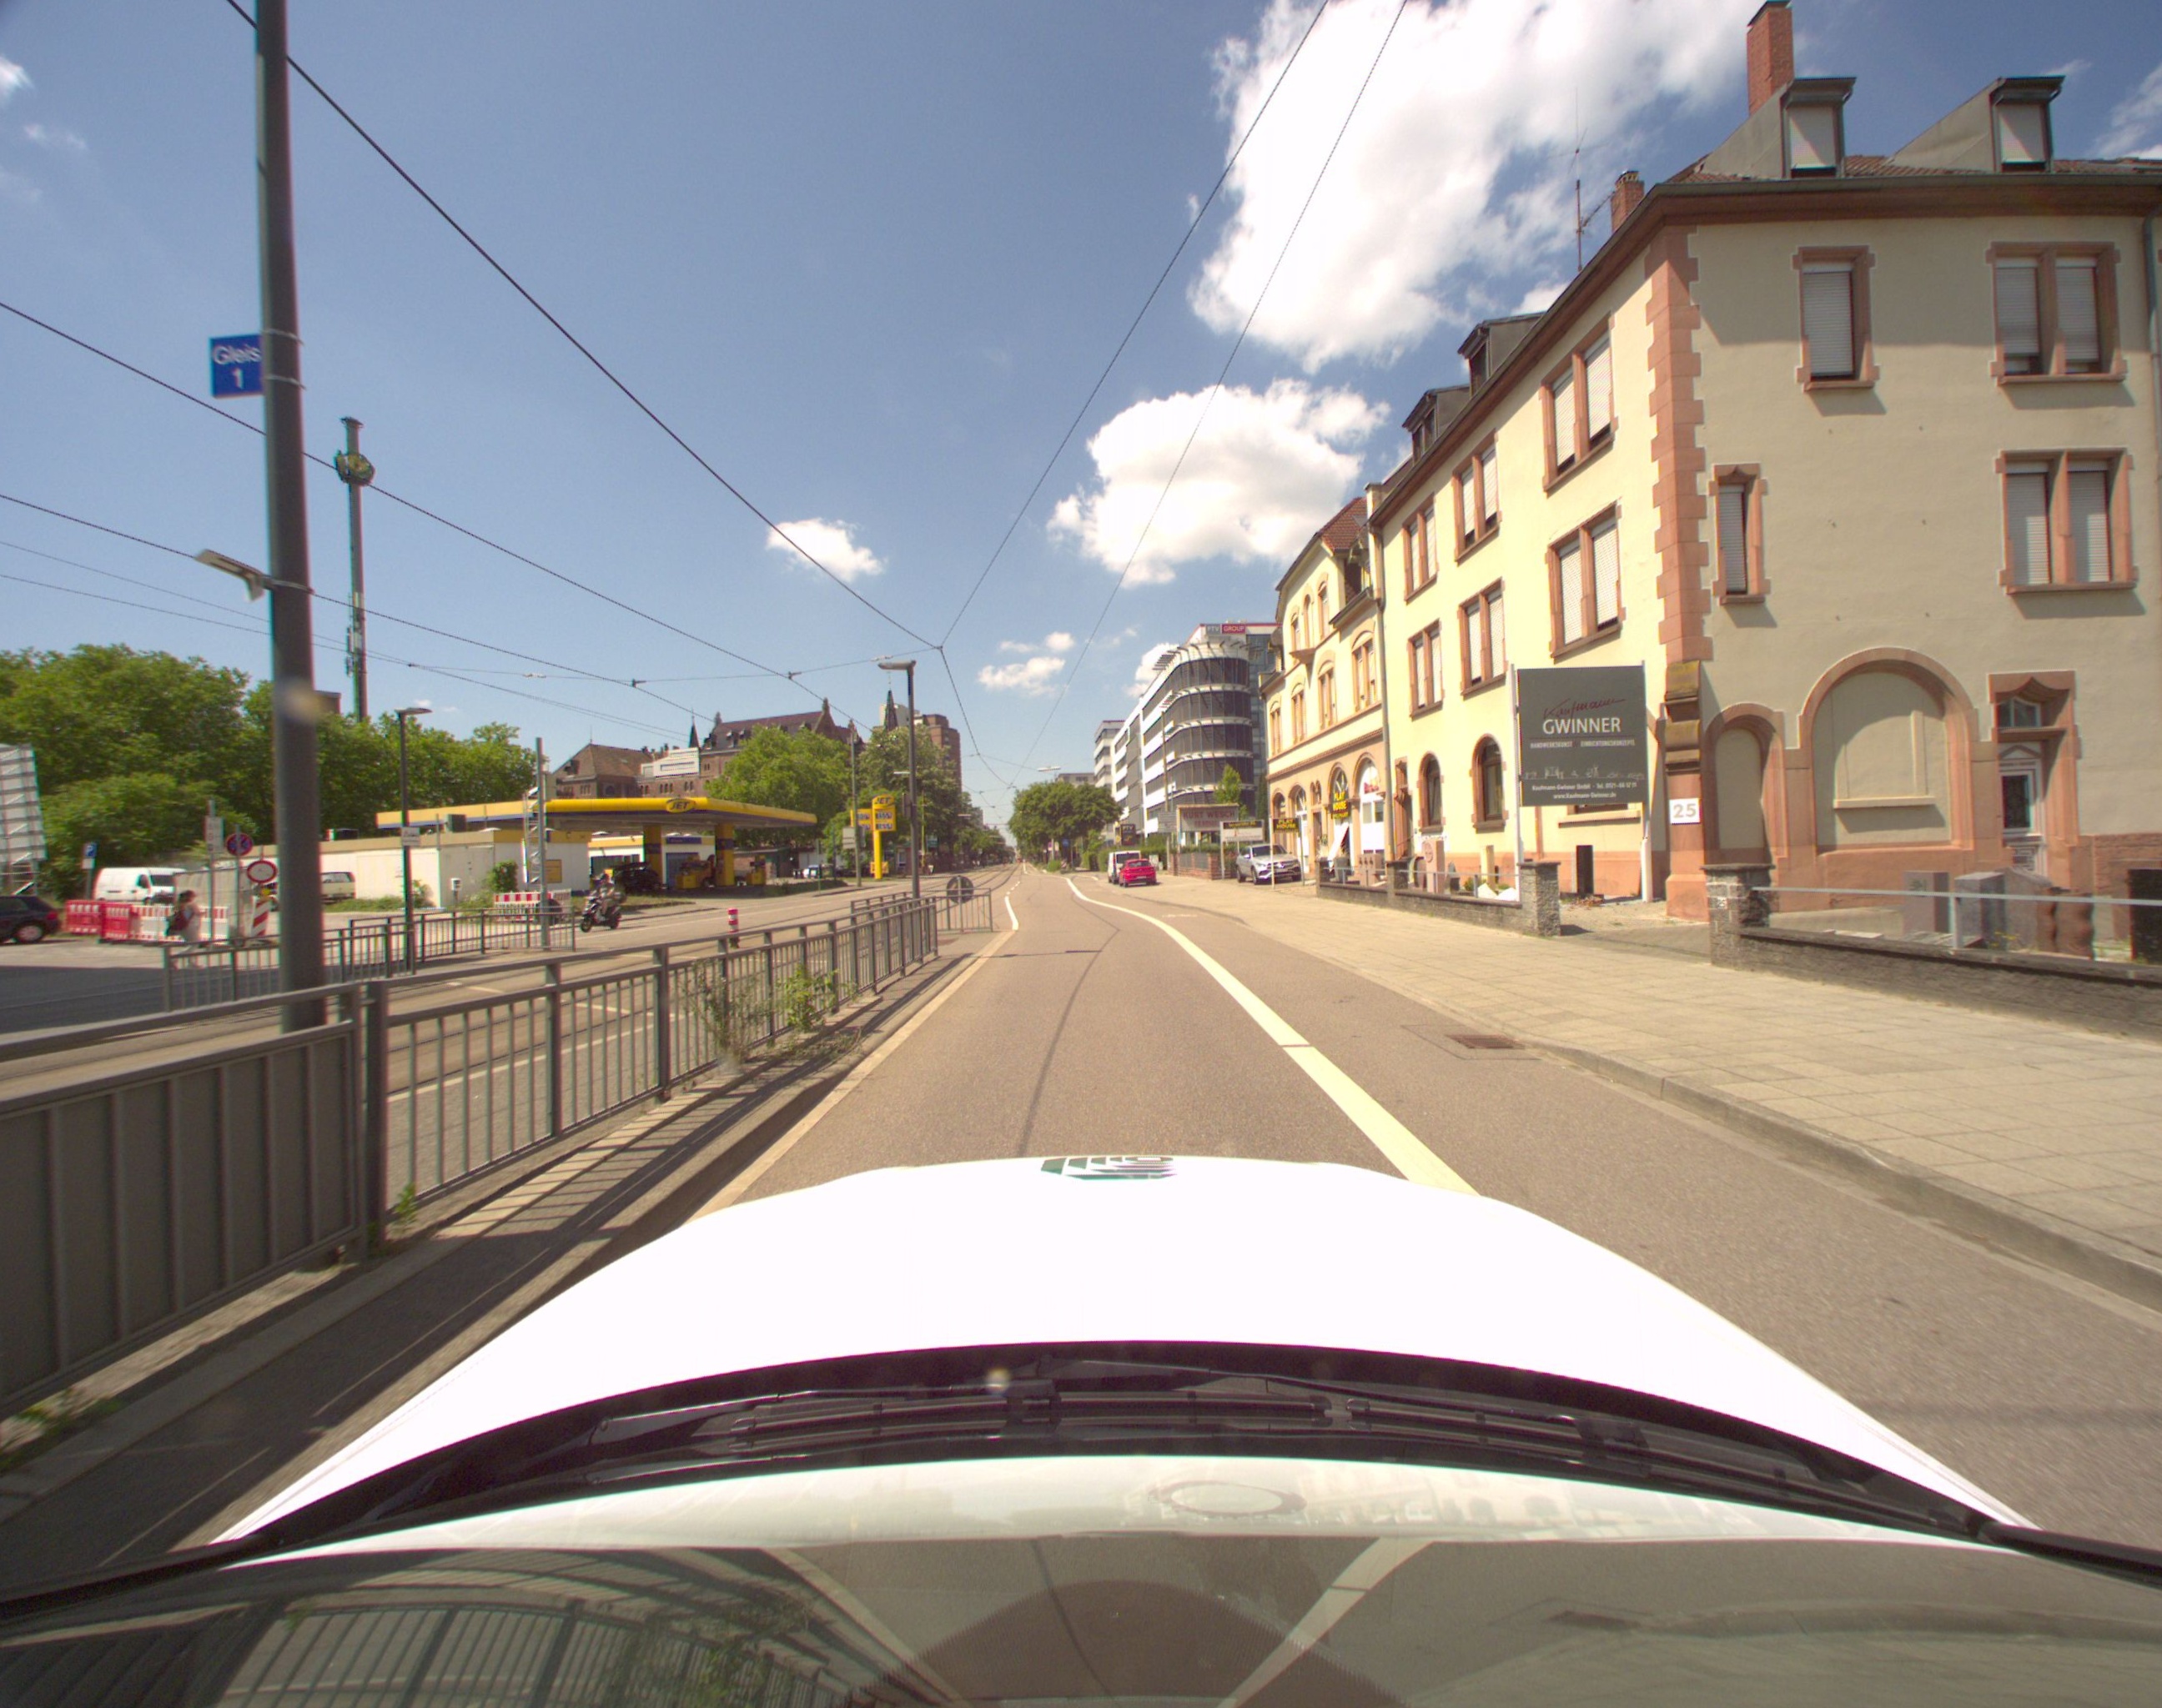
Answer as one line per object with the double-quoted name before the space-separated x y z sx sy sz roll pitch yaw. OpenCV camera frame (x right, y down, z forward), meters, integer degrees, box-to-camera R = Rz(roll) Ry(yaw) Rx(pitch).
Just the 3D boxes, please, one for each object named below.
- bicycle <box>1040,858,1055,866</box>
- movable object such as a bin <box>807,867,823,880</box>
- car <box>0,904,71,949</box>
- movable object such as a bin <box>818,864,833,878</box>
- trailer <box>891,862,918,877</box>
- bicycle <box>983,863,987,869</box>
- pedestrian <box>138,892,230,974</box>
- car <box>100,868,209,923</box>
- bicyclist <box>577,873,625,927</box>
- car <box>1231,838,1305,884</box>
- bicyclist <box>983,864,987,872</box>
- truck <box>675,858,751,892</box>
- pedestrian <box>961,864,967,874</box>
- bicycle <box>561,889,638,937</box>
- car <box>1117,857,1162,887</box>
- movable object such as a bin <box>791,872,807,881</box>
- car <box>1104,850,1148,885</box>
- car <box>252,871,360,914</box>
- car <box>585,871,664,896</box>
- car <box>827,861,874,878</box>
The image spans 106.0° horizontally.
"bicycle" -5.520 1.318 134.851 2.503 1.209 0.648 -2 -1 0
"movable object such as a bin" -27.727 2.032 84.995 1.337 1.354 0.760 -2 -1 7
"car" -30.921 2.062 22.086 1.807 1.161 4.018 -1 0 18
"movable object such as a bin" -26.400 1.747 84.211 1.343 1.354 0.756 -2 0 -7
"trailer" -20.678 1.791 95.557 2.824 1.704 1.619 -2 -1 -4
"bicycle" -20.426 2.557 172.845 0.700 1.204 2.237 -4 0 -4
"pedestrian" -18.761 1.630 17.053 0.758 1.596 0.999 1 -1 -2
"car" -50.448 2.233 44.372 4.449 2.774 2.129 -2 -1 16
"bicyclist" -14.206 1.354 24.121 0.756 1.504 1.064 -2 0 -2
"car" 7.740 0.284 34.182 1.873 1.624 4.637 -5 0 -1
"bicyclist" -20.403 2.885 172.971 0.641 1.679 0.813 -2 -1 -5
"truck" -28.569 1.577 63.396 1.975 2.498 5.234 -2 -1 26
"pedestrian" -20.153 2.588 140.241 0.813 1.770 0.923 -2 -1 -5
"bicycle" -14.160 1.707 24.058 0.814 1.222 2.388 -3 0 0
"car" 3.136 0.954 44.476 1.989 1.442 4.013 -3 0 -2
"movable object such as a bin" -29.677 2.330 85.731 1.334 0.873 0.761 -2 0 16
"car" 2.735 0.813 51.179 1.990 1.991 5.506 -4 0 -4
"car" -38.863 1.937 40.864 4.210 1.937 1.901 -2 0 14
"car" -31.495 2.045 56.337 1.975 1.479 4.367 -3 0 24
"car" -24.239 1.647 85.792 1.974 1.590 4.361 -3 0 40
